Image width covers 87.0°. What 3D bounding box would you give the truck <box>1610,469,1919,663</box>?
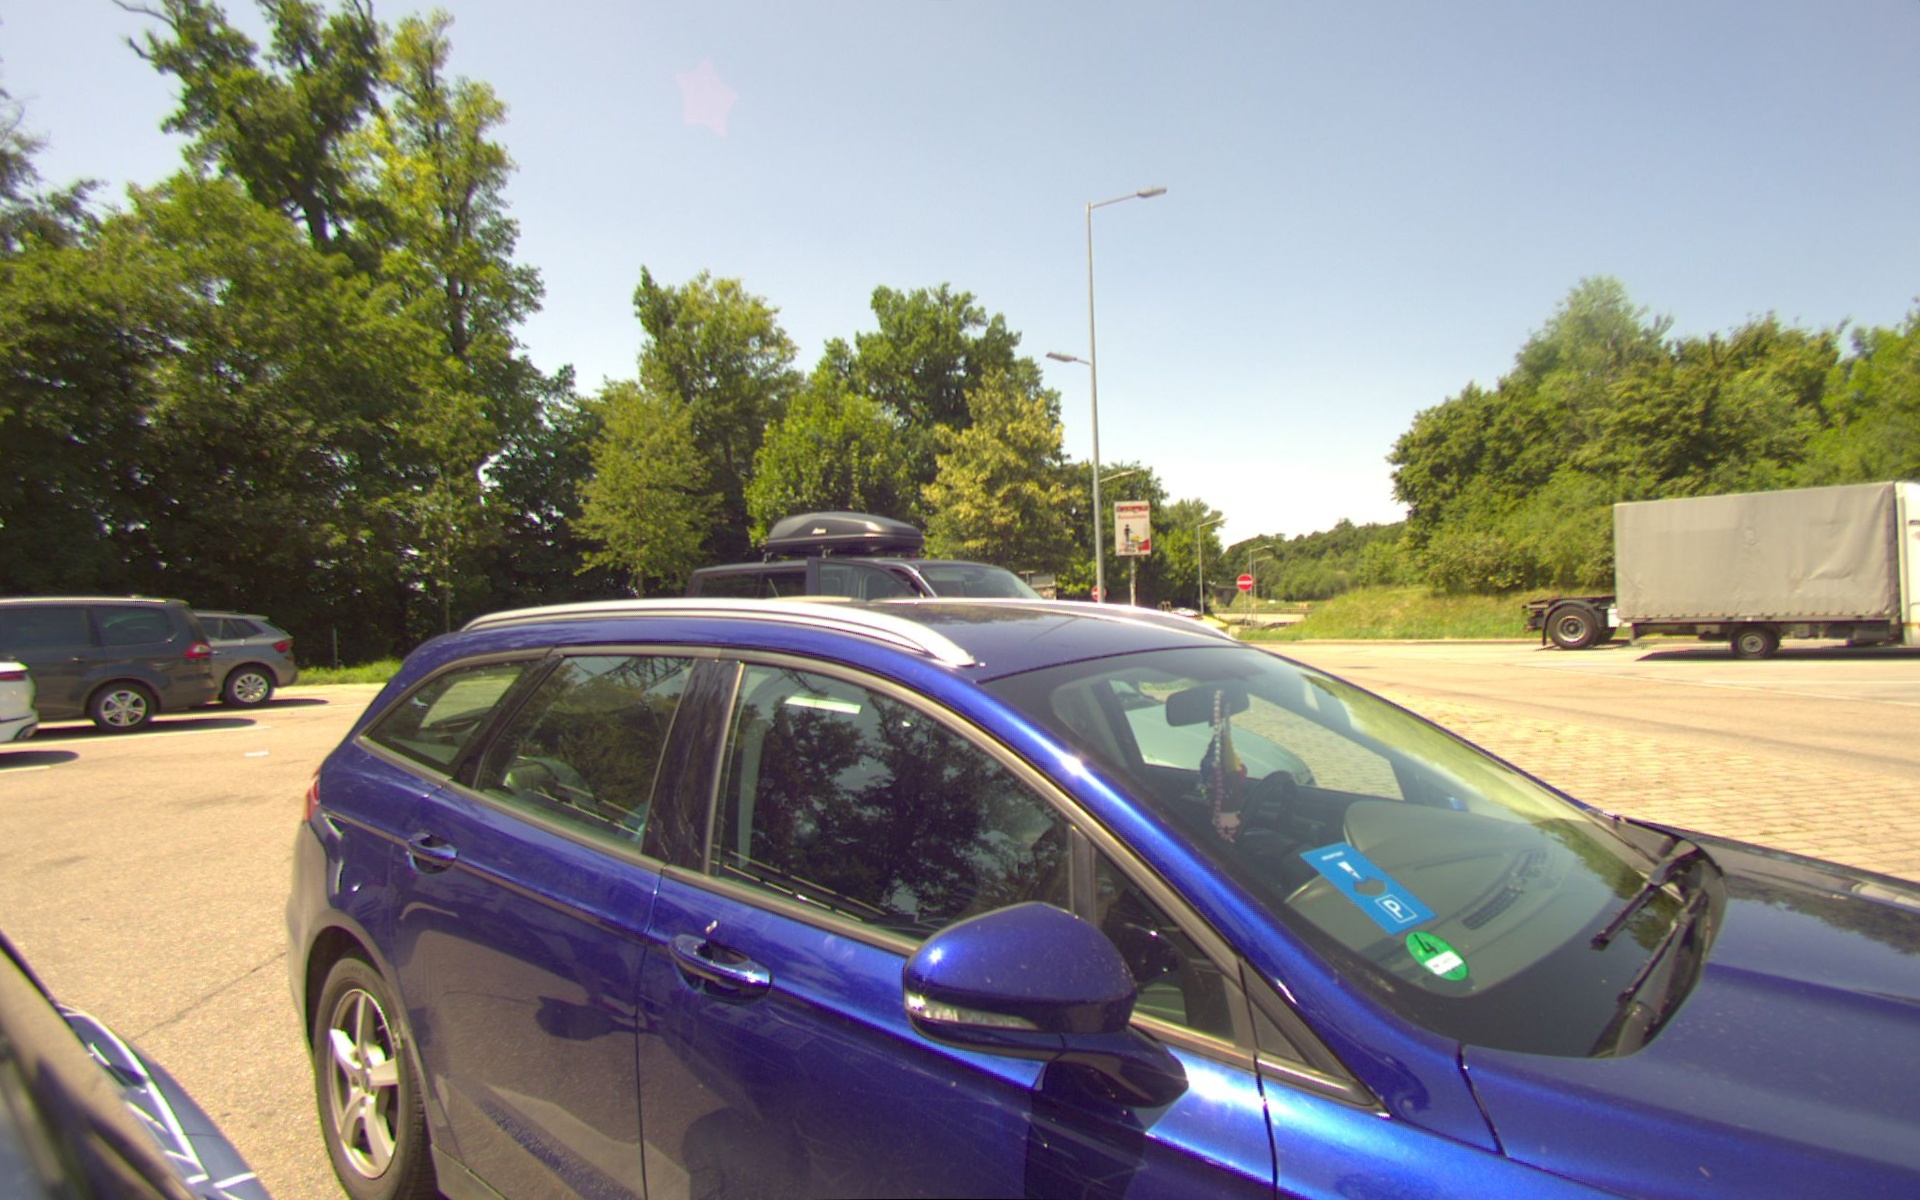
[{"bbox_3d":[16.714,-0.613,18.853,7.308,3.258,2.294,-5,-2,43],"label":"truck"}]

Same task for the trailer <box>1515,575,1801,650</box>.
[{"bbox_3d":[16.334,0.352,23.926,5.393,1.608,1.576,-2,-1,41],"label":"trailer"}]

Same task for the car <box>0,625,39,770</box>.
[{"bbox_3d":[-10.957,0.943,9.206,3.753,1.377,1.804,0,-1,-45],"label":"car"}]

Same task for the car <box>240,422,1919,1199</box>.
[{"bbox_3d":[0.243,0.651,2.092,4.427,1.455,1.763,-2,-1,40],"label":"car"}]

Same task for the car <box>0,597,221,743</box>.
[{"bbox_3d":[-11.710,0.836,12.594,3.830,1.703,1.883,0,-2,-45],"label":"car"}]

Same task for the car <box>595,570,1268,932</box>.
[{"bbox_3d":[-0.361,0.651,5.814,3.739,1.424,1.587,-2,-1,40],"label":"car"}]

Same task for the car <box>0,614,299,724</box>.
[{"bbox_3d":[-12.593,0.972,15.620,3.753,1.488,1.743,0,-1,-45],"label":"car"}]

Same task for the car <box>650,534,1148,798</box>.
[{"bbox_3d":[-0.729,0.535,9.424,4.427,1.875,2.022,-2,-1,40],"label":"car"}]
